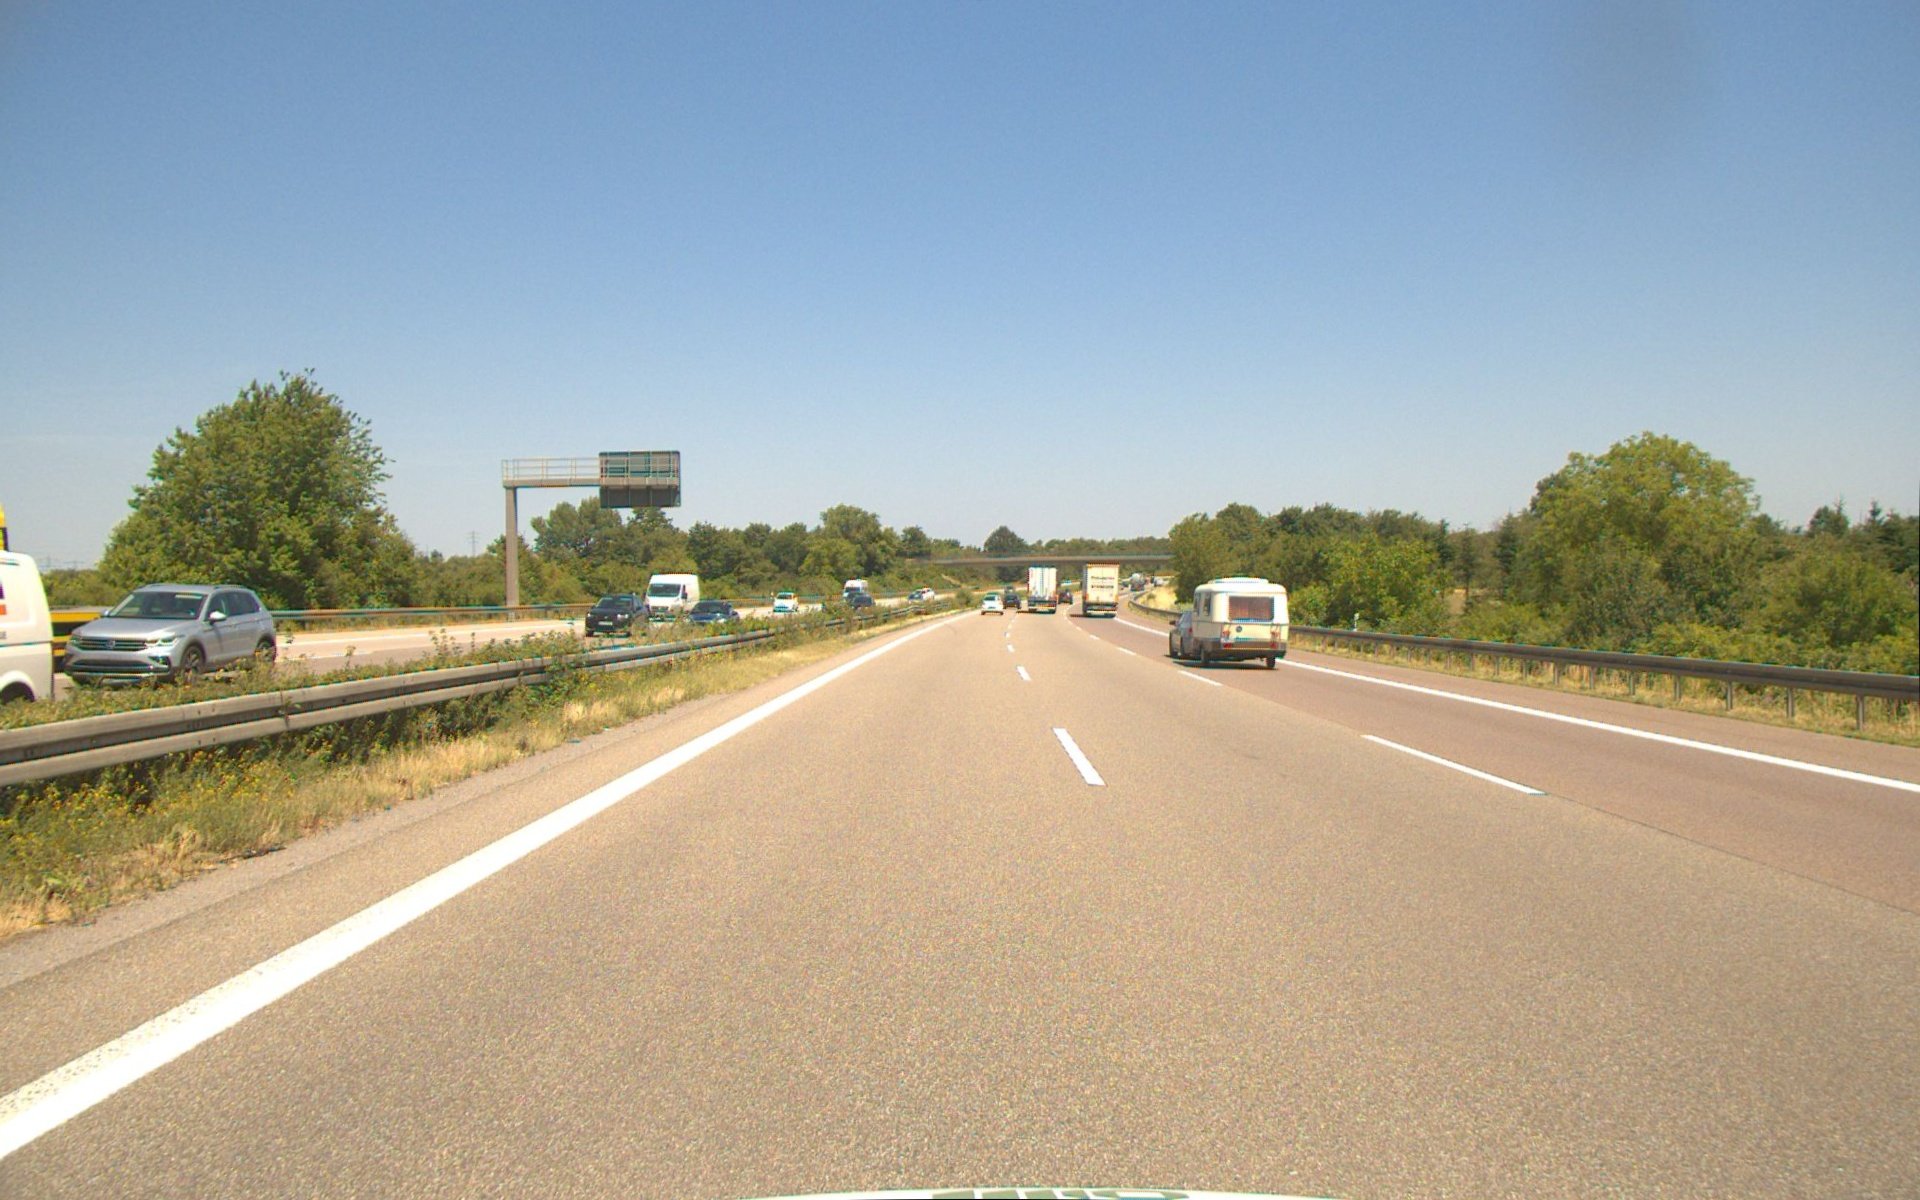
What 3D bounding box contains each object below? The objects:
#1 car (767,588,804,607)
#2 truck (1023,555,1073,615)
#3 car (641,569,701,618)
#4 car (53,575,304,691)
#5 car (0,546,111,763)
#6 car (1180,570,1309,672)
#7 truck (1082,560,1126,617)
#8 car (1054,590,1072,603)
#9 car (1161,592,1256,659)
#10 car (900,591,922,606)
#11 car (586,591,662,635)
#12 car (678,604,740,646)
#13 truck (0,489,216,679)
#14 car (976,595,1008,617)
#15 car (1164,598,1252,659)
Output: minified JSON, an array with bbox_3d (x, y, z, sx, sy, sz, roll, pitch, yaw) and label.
[{"bbox_3d":[-13.868,-0.168,131.477,1.951,1.483,4.091,1,0,9],"label":"car"},{"bbox_3d":[8.089,-1.445,149.377,3.589,5.105,16.030,1,1,6],"label":"truck"},{"bbox_3d":[-15.665,-0.335,90.056,2.087,2.520,6.333,1,0,0],"label":"car"},{"bbox_3d":[-12.989,0.505,27.882,1.953,1.766,4.814,0,0,0],"label":"car"},{"bbox_3d":[-9.442,0.474,13.593,1.953,1.914,5.722,0,0,0],"label":"car"},{"bbox_3d":[7.148,0.450,42.217,2.392,2.362,5.322,-1,2,0],"label":"car"},{"bbox_3d":[11.906,-1.061,135.479,3.113,4.379,16.030,1,1,7],"label":"truck"},{"bbox_3d":[13.256,-0.433,212.001,1.789,1.574,4.323,2,1,10],"label":"car"},{"bbox_3d":[7.088,0.671,47.723,2.002,1.687,5.511,0,2,1],"label":"car"},{"bbox_3d":[-4.759,-0.151,161.029,1.710,1.492,4.252,1,0,4],"label":"car"},{"bbox_3d":[-12.345,0.469,60.959,1.938,1.536,4.235,1,0,0],"label":"car"},{"bbox_3d":[-8.850,0.859,58.578,1.598,1.378,3.829,1,0,0],"label":"car"},{"bbox_3d":[-17.438,-0.286,31.312,2.470,3.207,9.665,0,0,-1],"label":"truck"},{"bbox_3d":[2.560,0.463,129.893,1.789,1.574,4.323,2,1,10],"label":"car"},{"bbox_3d":[7.109,0.783,47.932,1.848,1.542,5.381,2,1,1],"label":"car"}]
